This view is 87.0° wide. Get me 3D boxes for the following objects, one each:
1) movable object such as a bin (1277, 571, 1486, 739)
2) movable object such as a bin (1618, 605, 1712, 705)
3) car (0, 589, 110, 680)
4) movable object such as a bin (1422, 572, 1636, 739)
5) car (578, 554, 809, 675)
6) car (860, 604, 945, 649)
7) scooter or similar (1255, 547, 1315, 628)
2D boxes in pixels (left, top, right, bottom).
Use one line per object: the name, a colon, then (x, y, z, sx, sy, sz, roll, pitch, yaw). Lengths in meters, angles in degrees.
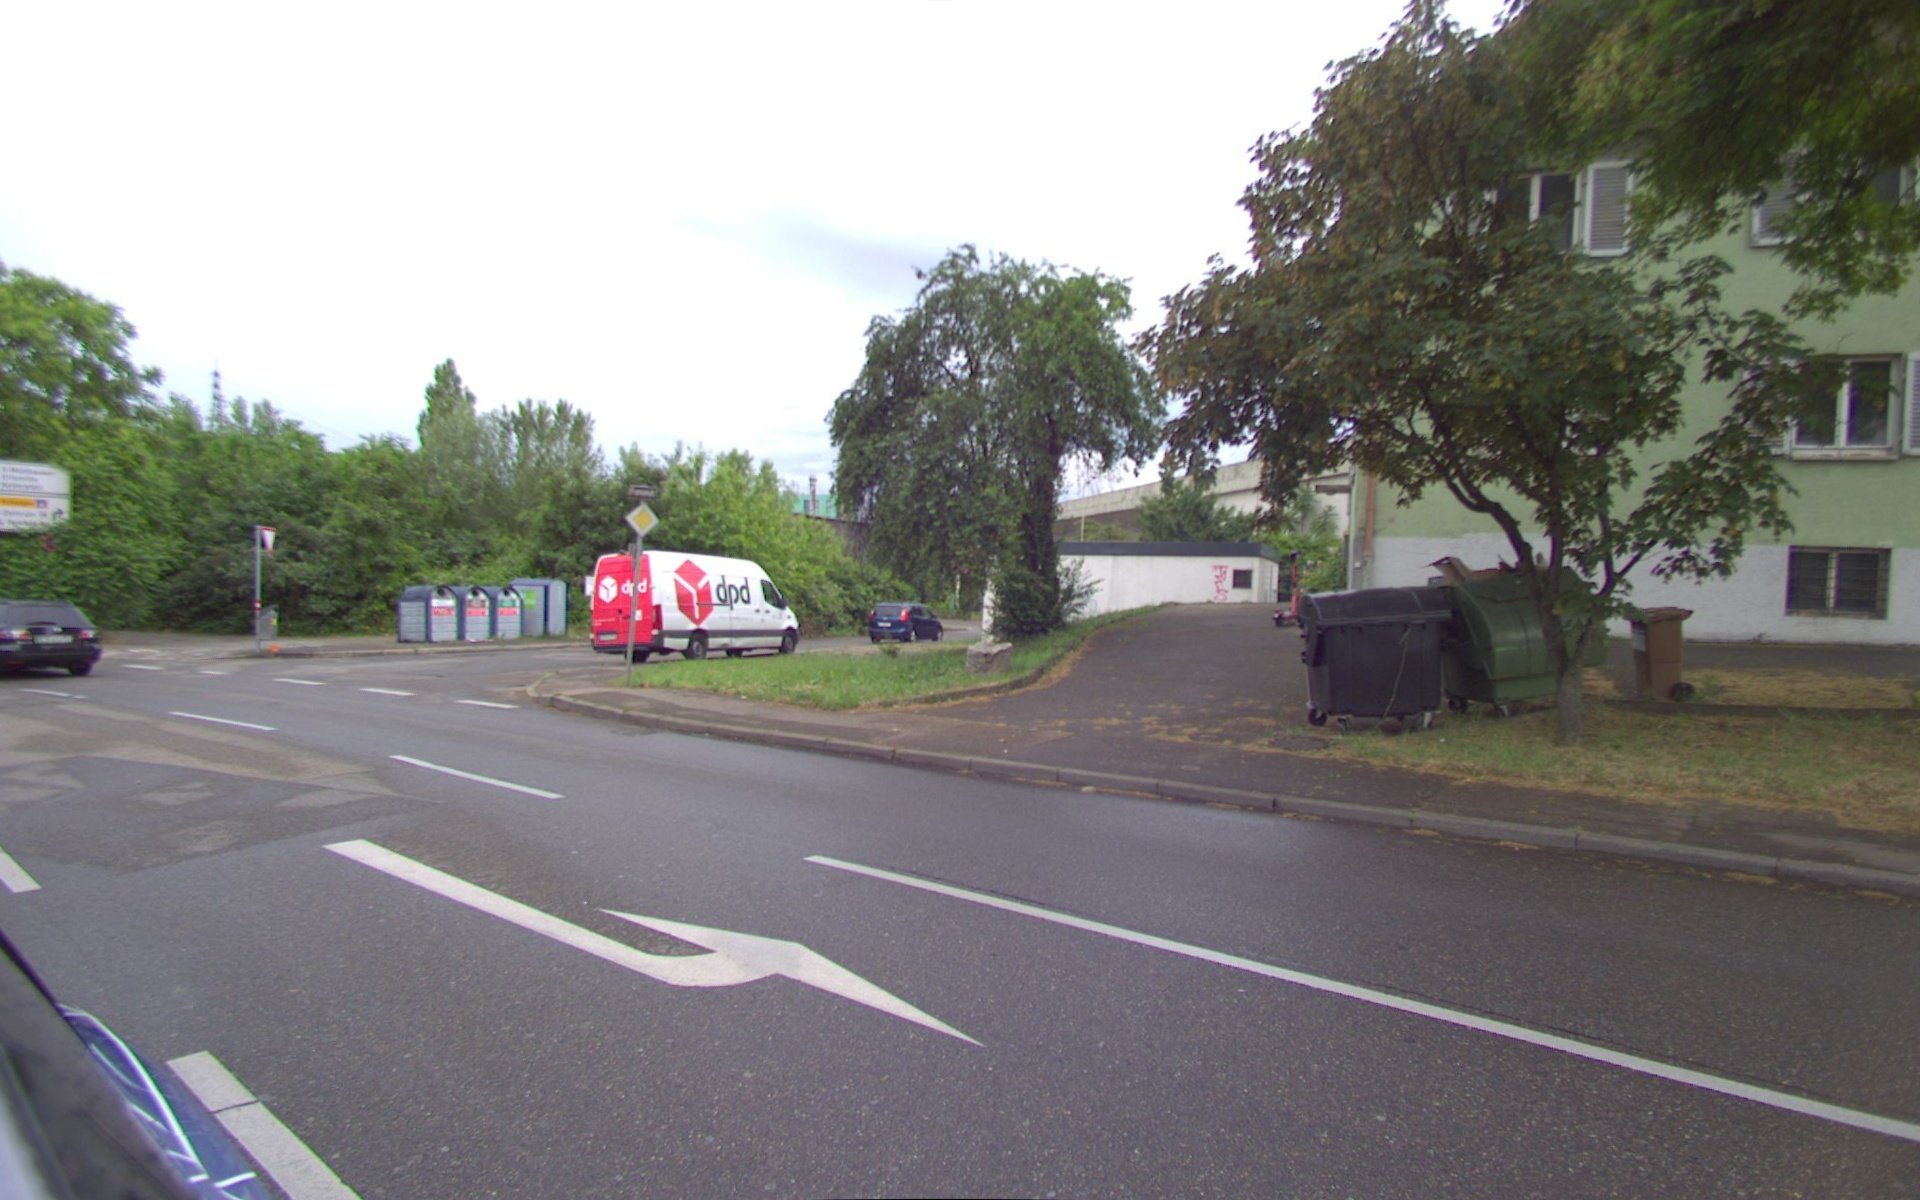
movable object such as a bin: (4.247, 0.505, 10.339, 1.440, 1.448, 1.296, -5, 3, -6)
movable object such as a bin: (7.204, 0.537, 10.344, 0.723, 0.964, 0.551, 1, 0, 41)
car: (-18.424, 0.615, 19.320, 4.391, 1.581, 1.831, 0, -1, 27)
movable object such as a bin: (5.703, 0.515, 10.229, 1.440, 1.448, 1.102, -5, 3, -6)
car: (-6.510, 0.304, 25.918, 2.246, 2.675, 6.777, 1, 0, 20)
car: (-2.227, 1.004, 40.407, 1.984, 1.642, 4.228, 1, 0, 18)
scooter or similar: (5.524, -0.236, 17.144, 0.529, 1.283, 1.507, 1, 4, 35)
